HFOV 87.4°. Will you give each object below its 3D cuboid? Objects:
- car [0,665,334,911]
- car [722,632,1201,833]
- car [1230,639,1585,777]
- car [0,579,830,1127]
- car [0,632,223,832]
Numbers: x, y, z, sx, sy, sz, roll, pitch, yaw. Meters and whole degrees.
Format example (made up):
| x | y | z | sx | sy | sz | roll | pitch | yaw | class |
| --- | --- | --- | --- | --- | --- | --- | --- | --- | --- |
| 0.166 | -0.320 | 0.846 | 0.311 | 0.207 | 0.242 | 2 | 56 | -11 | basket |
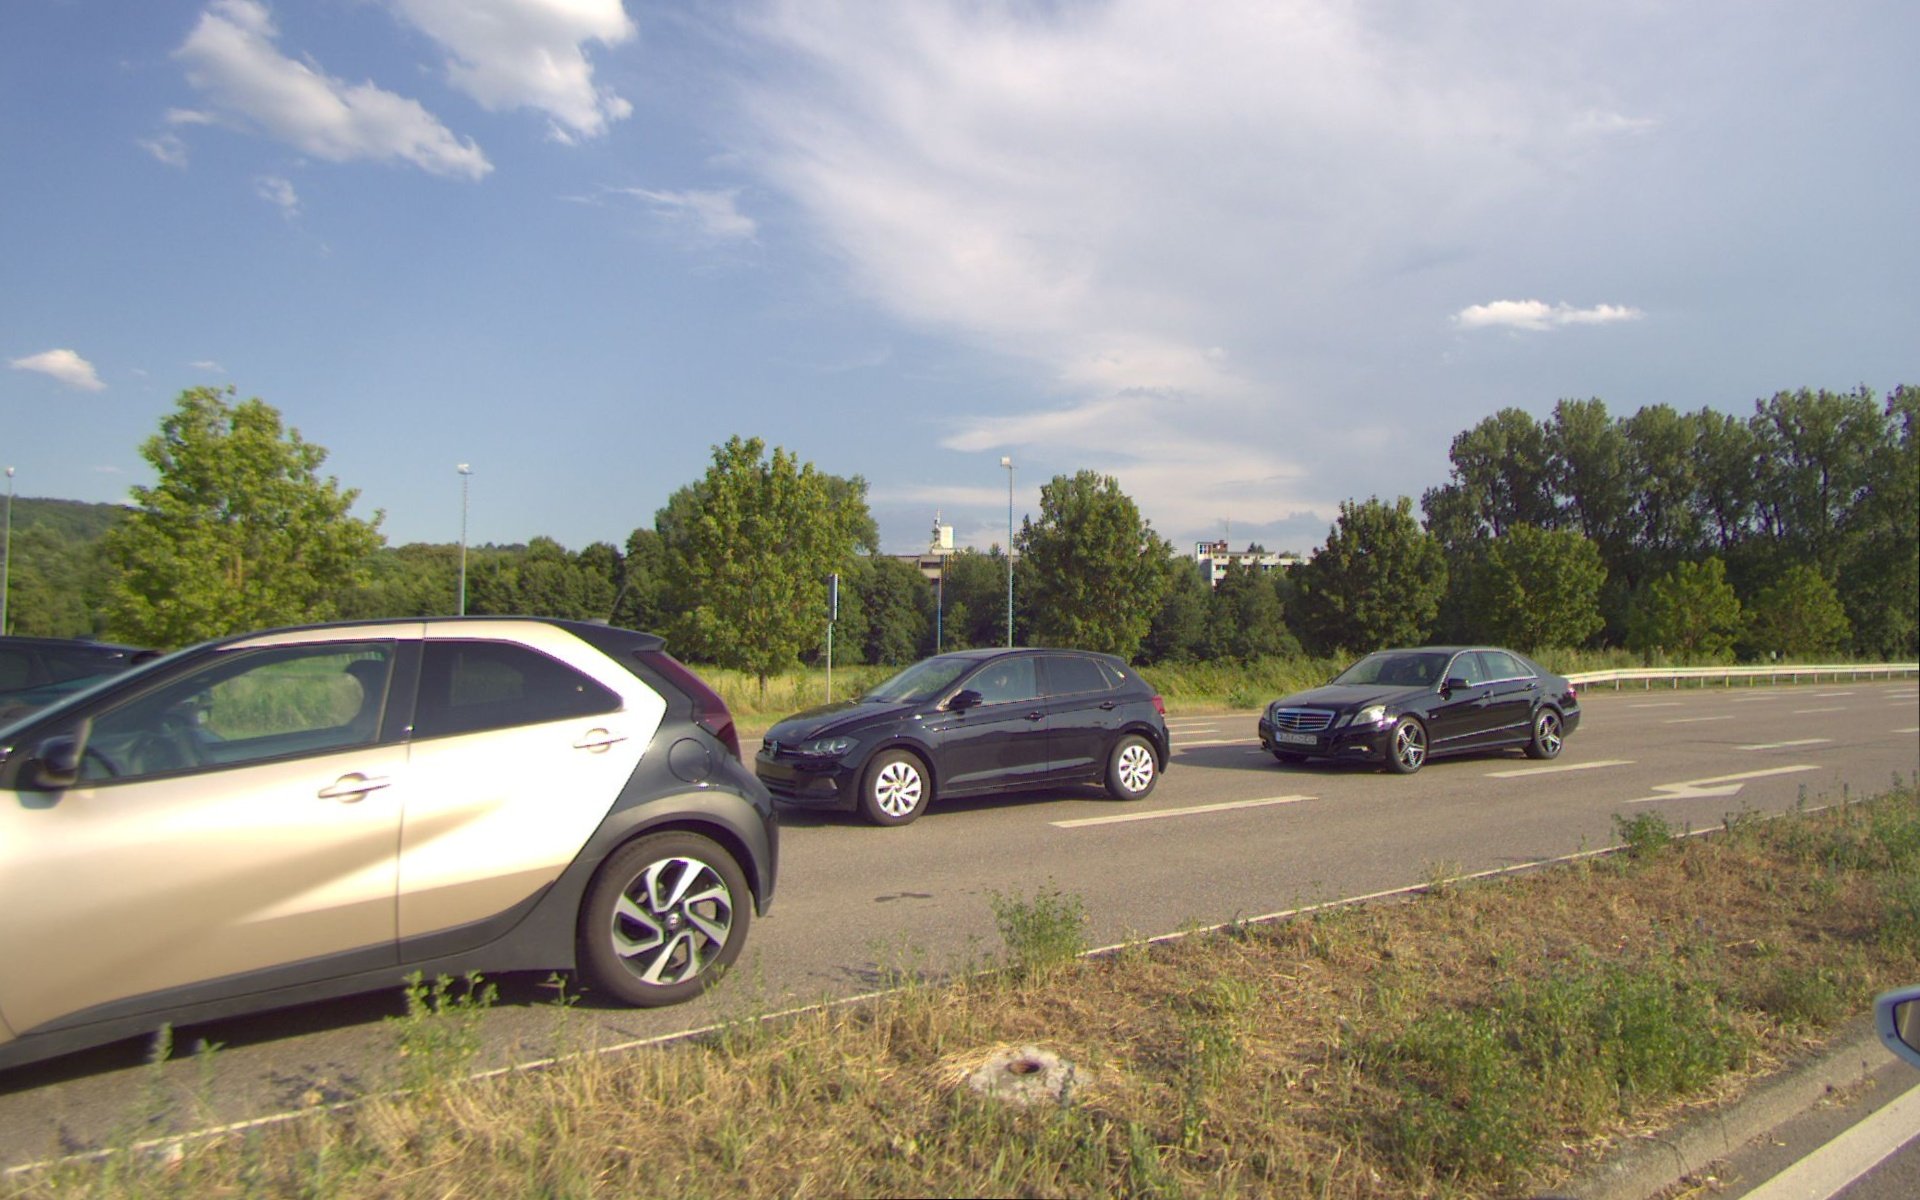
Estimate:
| x | y | z | sx | sy | sz | roll | pitch | yaw | class |
| --- | --- | --- | --- | --- | --- | --- | --- | --- | --- |
| -6.409 | 1.049 | 5.705 | 4.763 | 1.300 | 1.694 | 2 | -3 | -31 | car |
| 0.098 | 1.104 | 9.329 | 4.197 | 1.492 | 1.694 | 2 | -4 | -31 | car |
| 5.752 | 1.262 | 12.734 | 4.671 | 1.483 | 1.707 | 1 | -4 | -31 | car |
| -2.685 | 0.777 | 3.891 | 3.953 | 1.539 | 1.772 | 3 | -4 | -30 | car |
| -8.586 | 1.037 | 8.156 | 3.954 | 1.549 | 1.754 | 3 | -4 | -30 | car |
